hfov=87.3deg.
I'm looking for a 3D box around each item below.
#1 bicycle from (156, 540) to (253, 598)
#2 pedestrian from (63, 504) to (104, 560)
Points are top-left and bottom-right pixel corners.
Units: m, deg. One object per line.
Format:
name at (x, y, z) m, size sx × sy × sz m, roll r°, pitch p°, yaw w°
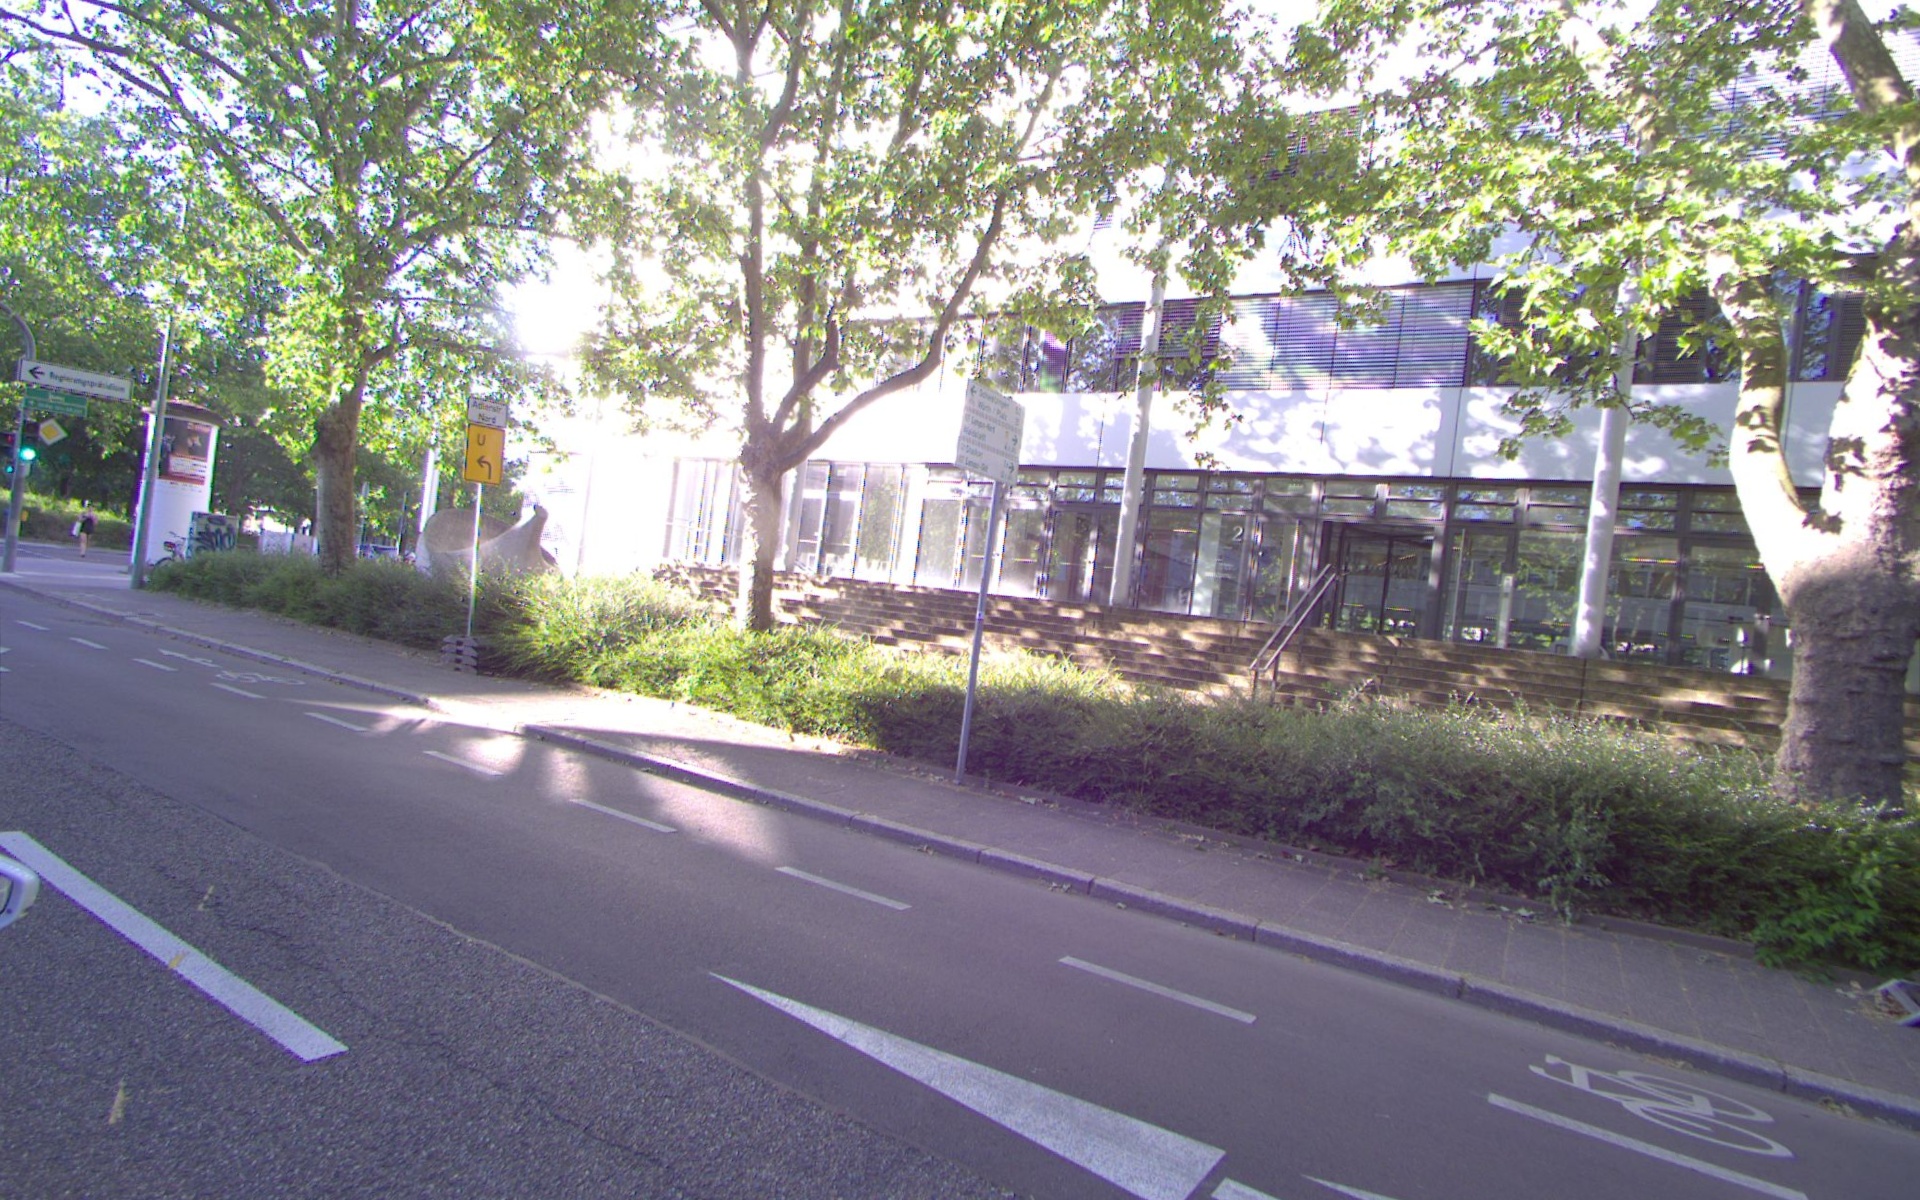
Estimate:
bicycle at (-15.913, -0.633, 21.250) m, size 0.631 × 1.040 × 1.887 m, roll 7°, pitch -2°, yaw -5°
pedestrian at (-26.395, -2.049, 30.287) m, size 0.896 × 1.563 × 0.636 m, roll 6°, pitch -1°, yaw 38°
